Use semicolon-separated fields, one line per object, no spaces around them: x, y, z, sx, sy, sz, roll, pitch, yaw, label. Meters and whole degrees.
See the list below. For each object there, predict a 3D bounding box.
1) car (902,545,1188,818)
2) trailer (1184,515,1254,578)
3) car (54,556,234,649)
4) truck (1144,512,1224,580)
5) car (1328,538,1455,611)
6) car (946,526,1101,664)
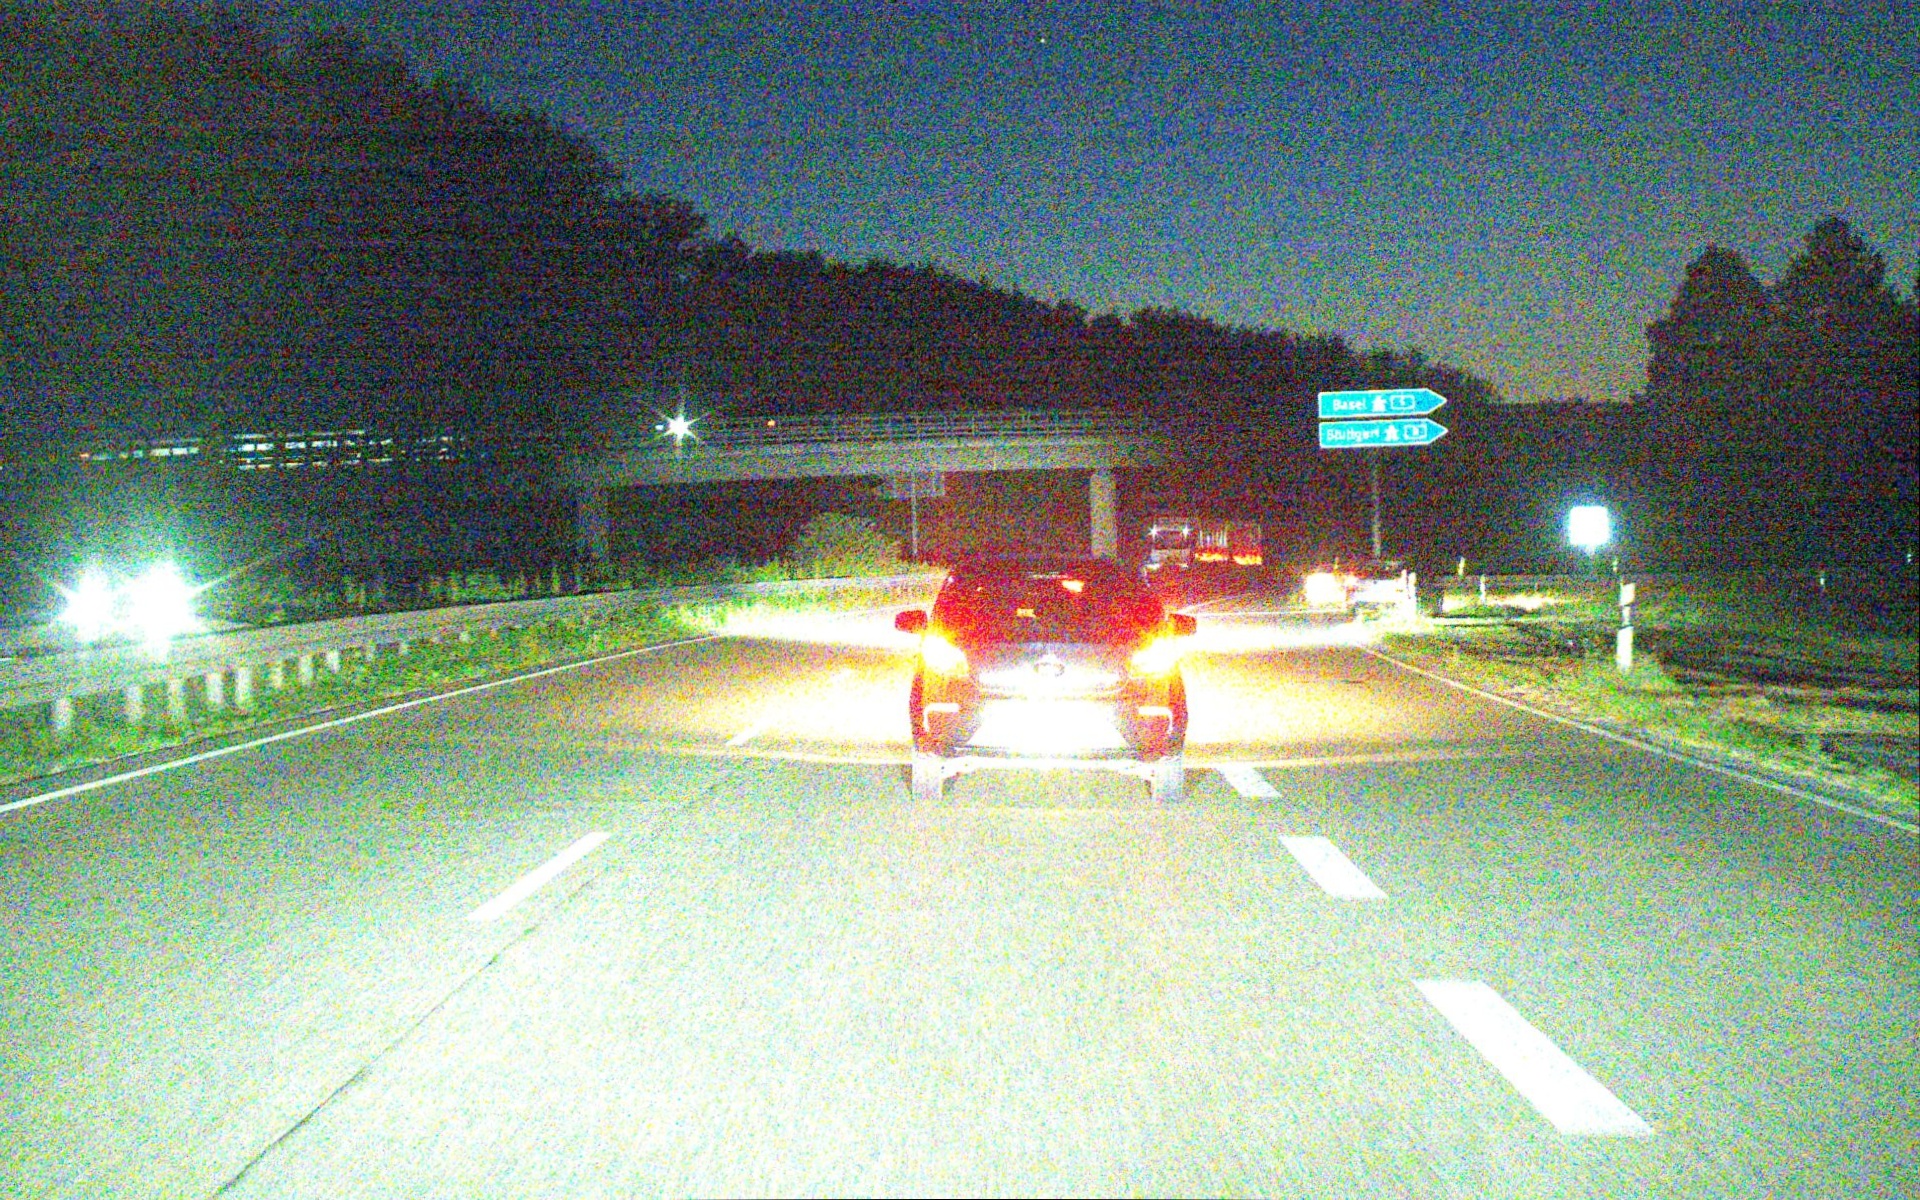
0.475;0.430;21.436;1.588;1.503;4.000;1;1;0;car
16.685;-3.439;221.026;2.719;3.943;9.040;-1;1;16;trailer
-14.277;0.013;60.393;1.993;1.551;4.295;0;1;2;car
13.844;-3.324;211.652;2.682;4.030;10.646;-1;1;16;truck
10.971;-0.664;87.194;1.934;1.809;4.259;0;1;26;car
0.806;-0.092;44.465;1.906;1.692;4.000;0;1;1;car
